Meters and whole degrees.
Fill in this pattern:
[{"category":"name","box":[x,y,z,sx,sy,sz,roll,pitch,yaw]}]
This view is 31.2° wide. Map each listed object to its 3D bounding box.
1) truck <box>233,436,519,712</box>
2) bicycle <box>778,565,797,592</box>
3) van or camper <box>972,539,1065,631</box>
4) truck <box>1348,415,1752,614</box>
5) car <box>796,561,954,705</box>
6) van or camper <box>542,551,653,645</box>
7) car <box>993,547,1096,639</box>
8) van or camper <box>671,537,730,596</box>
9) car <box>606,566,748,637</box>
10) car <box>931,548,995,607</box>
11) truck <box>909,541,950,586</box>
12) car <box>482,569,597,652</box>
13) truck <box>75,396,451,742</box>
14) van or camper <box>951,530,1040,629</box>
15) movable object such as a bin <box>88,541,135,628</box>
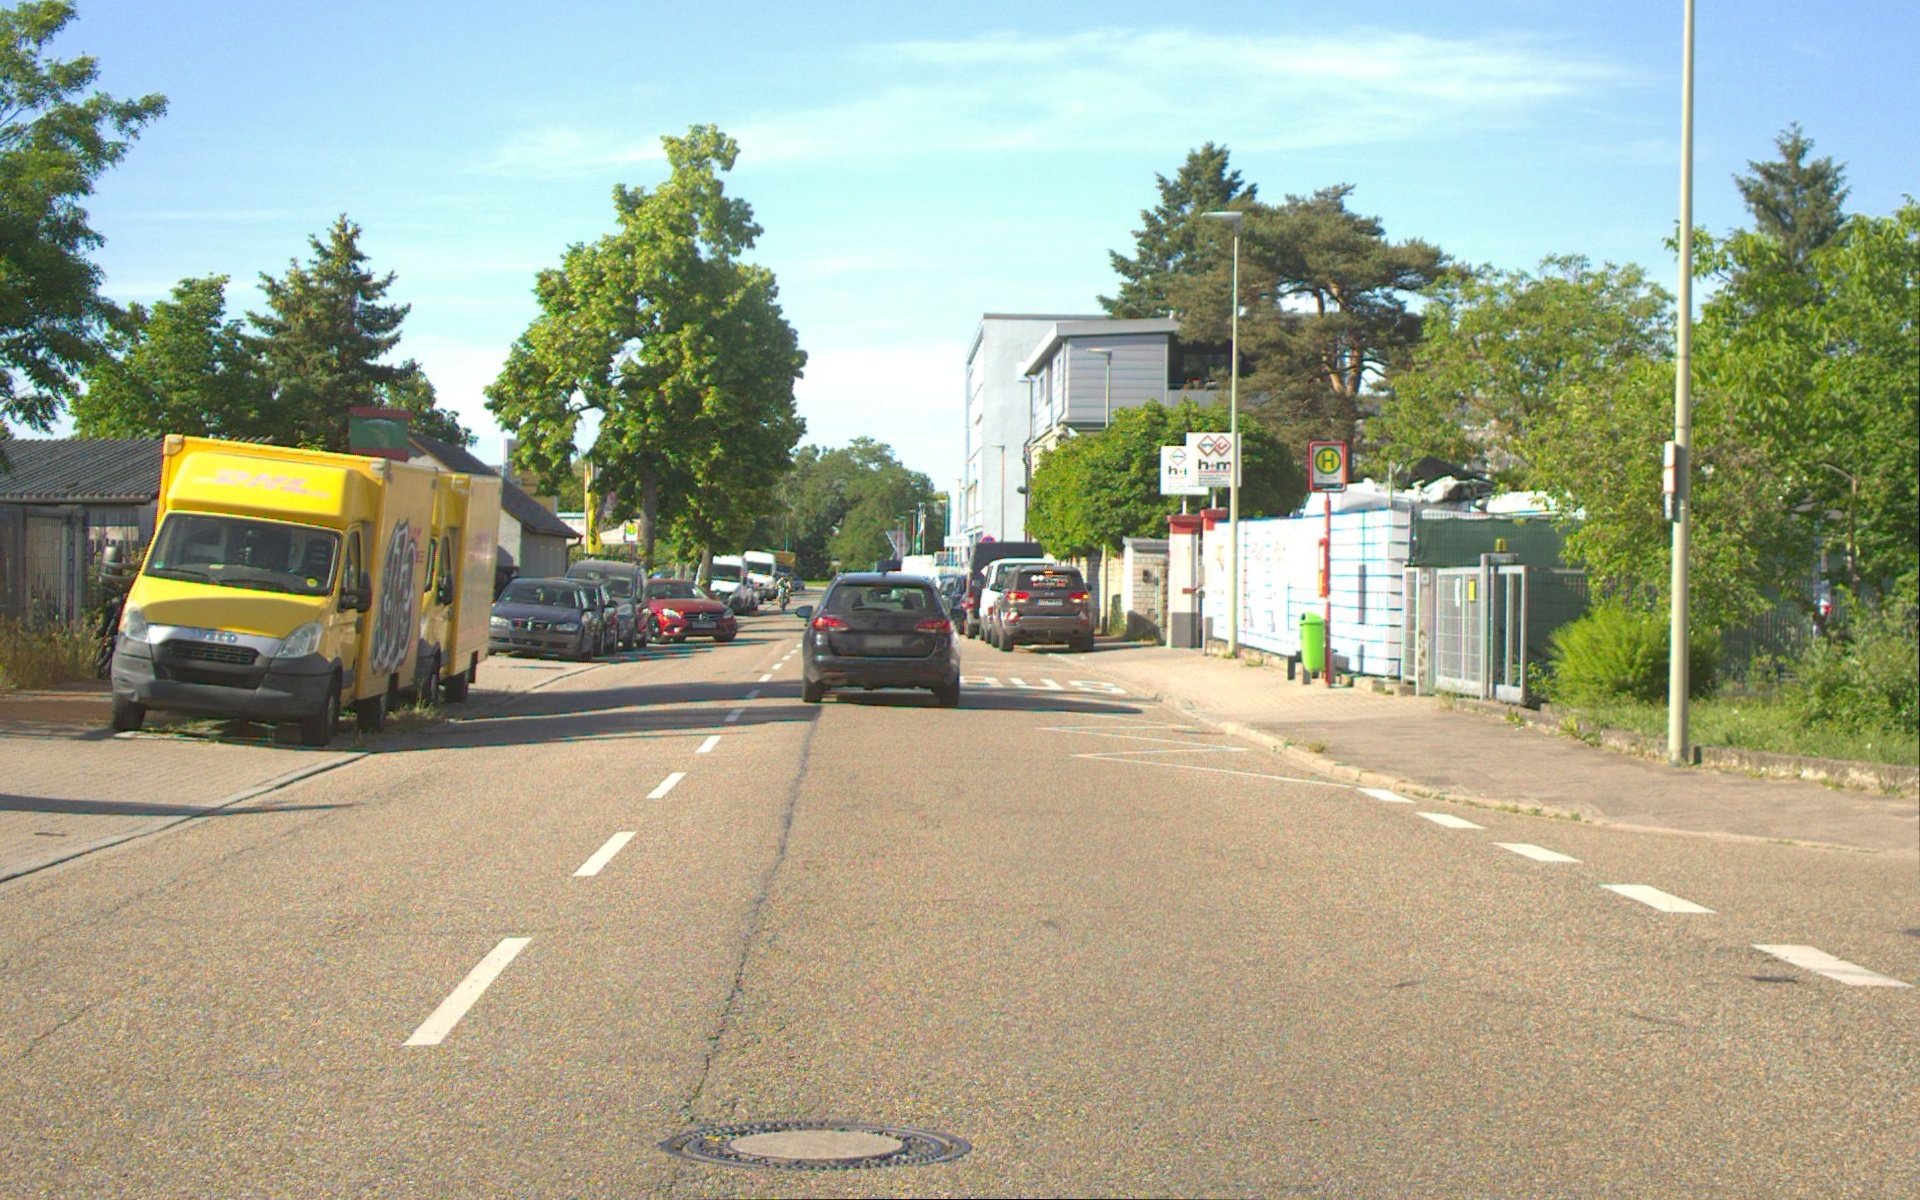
[{"category":"truck","box":[-6.753,-0.332,40.544,2.192,2.892,6.439,3,1,0]},{"category":"bicycle","box":[-7.671,-0.956,152.809,0.829,1.149,2.941,1,1,-3]},{"category":"van or camper","box":[1.303,-0.358,77.969,1.919,2.012,4.080,1,1,-1]},{"category":"truck","box":[11.653,-1.665,68.278,7.372,3.758,2.833,1,1,-5]},{"category":"car","box":[-0.937,0.340,39.368,1.711,1.527,3.688,0,1,0]},{"category":"van or camper","box":[-7.585,-0.048,72.245,1.890,1.919,4.266,0,0,0]},{"category":"car","box":[1.730,-0.172,71.419,1.919,1.819,4.080,1,1,-1]},{"category":"van or camper","box":[-10.885,-1.413,144.052,2.323,2.354,6.529,1,1,-5]},{"category":"car","box":[-6.422,0.006,77.569,1.875,1.480,4.045,-1,2,-25]},{"category":"car","box":[0.085,-0.741,110.415,1.919,1.819,4.080,1,1,-1]},{"category":"truck","box":[-1.584,-1.888,177.254,1.993,2.280,6.956,1,1,-1]},{"category":"car","box":[-7.590,0.160,62.394,1.756,1.398,4.558,1,1,-3]},{"category":"truck","box":[-6.674,-0.312,33.773,2.402,2.973,6.374,2,1,-1]},{"category":"van or camper","box":[0.823,-0.511,83.130,1.993,2.302,4.000,1,1,-1]},{"category":"movable object such as a bin","box":[-13.200,-0.248,53.492,0.585,1.335,0.549,1,1,-1]}]
